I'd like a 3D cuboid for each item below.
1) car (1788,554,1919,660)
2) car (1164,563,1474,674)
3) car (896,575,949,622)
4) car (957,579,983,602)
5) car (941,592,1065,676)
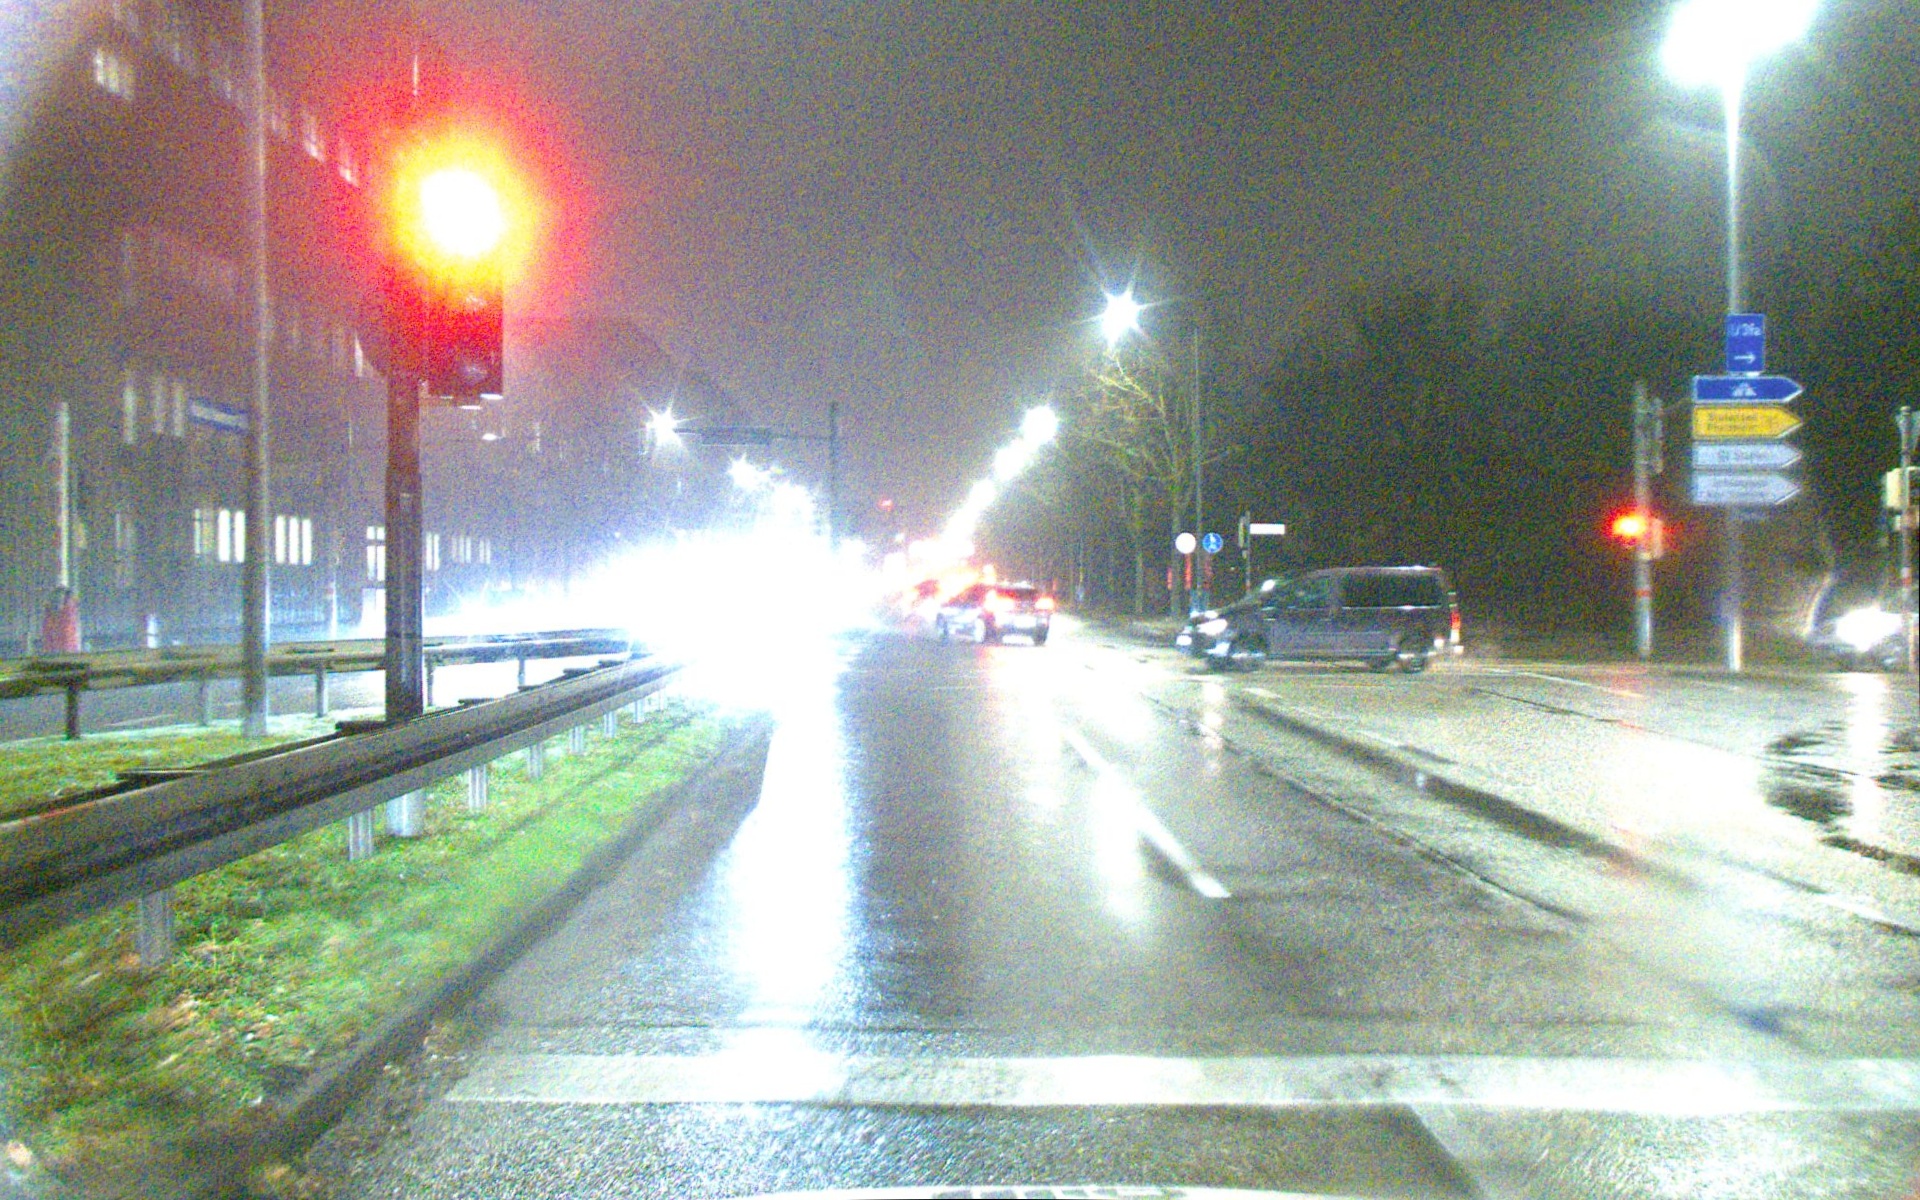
[{"bbox_3d":[17.079,0.145,28.854,4.292,1.771,1.911,1,0,3],"label":"car"},{"bbox_3d":[6.108,0.318,28.383,4.811,1.771,1.967,1,0,-9],"label":"car"},{"bbox_3d":[-1.450,-0.054,64.501,1.953,1.735,4.632,1,0,-1],"label":"car"},{"bbox_3d":[0.809,-0.717,132.630,1.953,1.790,3.999,1,0,-1],"label":"car"},{"bbox_3d":[1.054,0.844,43.176,1.961,2.049,4.613,1,0,-16],"label":"car"}]
